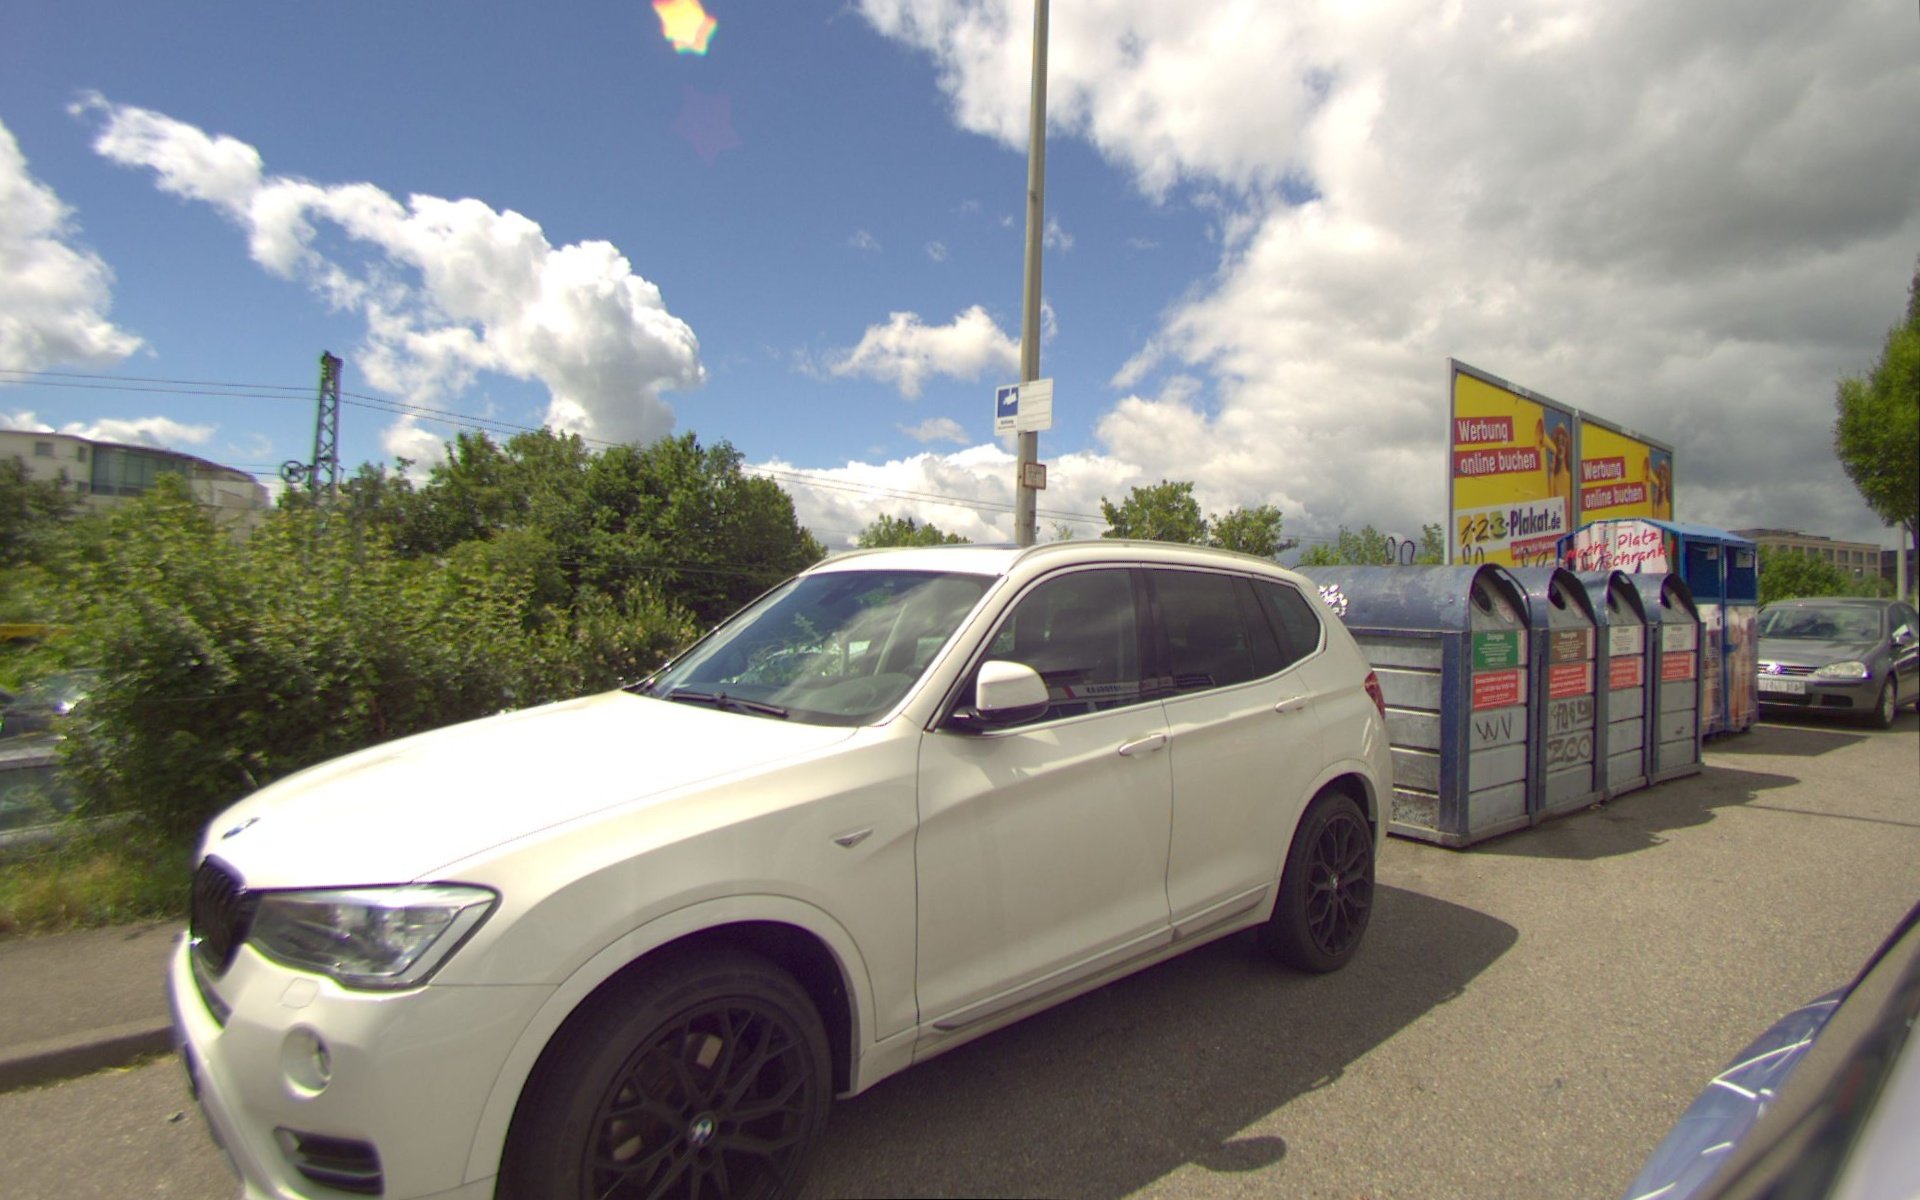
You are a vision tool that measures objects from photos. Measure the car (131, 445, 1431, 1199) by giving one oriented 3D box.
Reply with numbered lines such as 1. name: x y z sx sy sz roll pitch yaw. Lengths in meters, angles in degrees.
1. car: -0.104 0.585 3.640 4.403 1.680 1.688 0 0 -42

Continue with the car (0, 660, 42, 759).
1. car: -15.135 1.727 14.085 1.752 1.407 4.197 0 1 -15

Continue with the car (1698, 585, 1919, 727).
1. car: 11.001 0.582 12.672 3.968 1.504 1.661 0 1 -35
